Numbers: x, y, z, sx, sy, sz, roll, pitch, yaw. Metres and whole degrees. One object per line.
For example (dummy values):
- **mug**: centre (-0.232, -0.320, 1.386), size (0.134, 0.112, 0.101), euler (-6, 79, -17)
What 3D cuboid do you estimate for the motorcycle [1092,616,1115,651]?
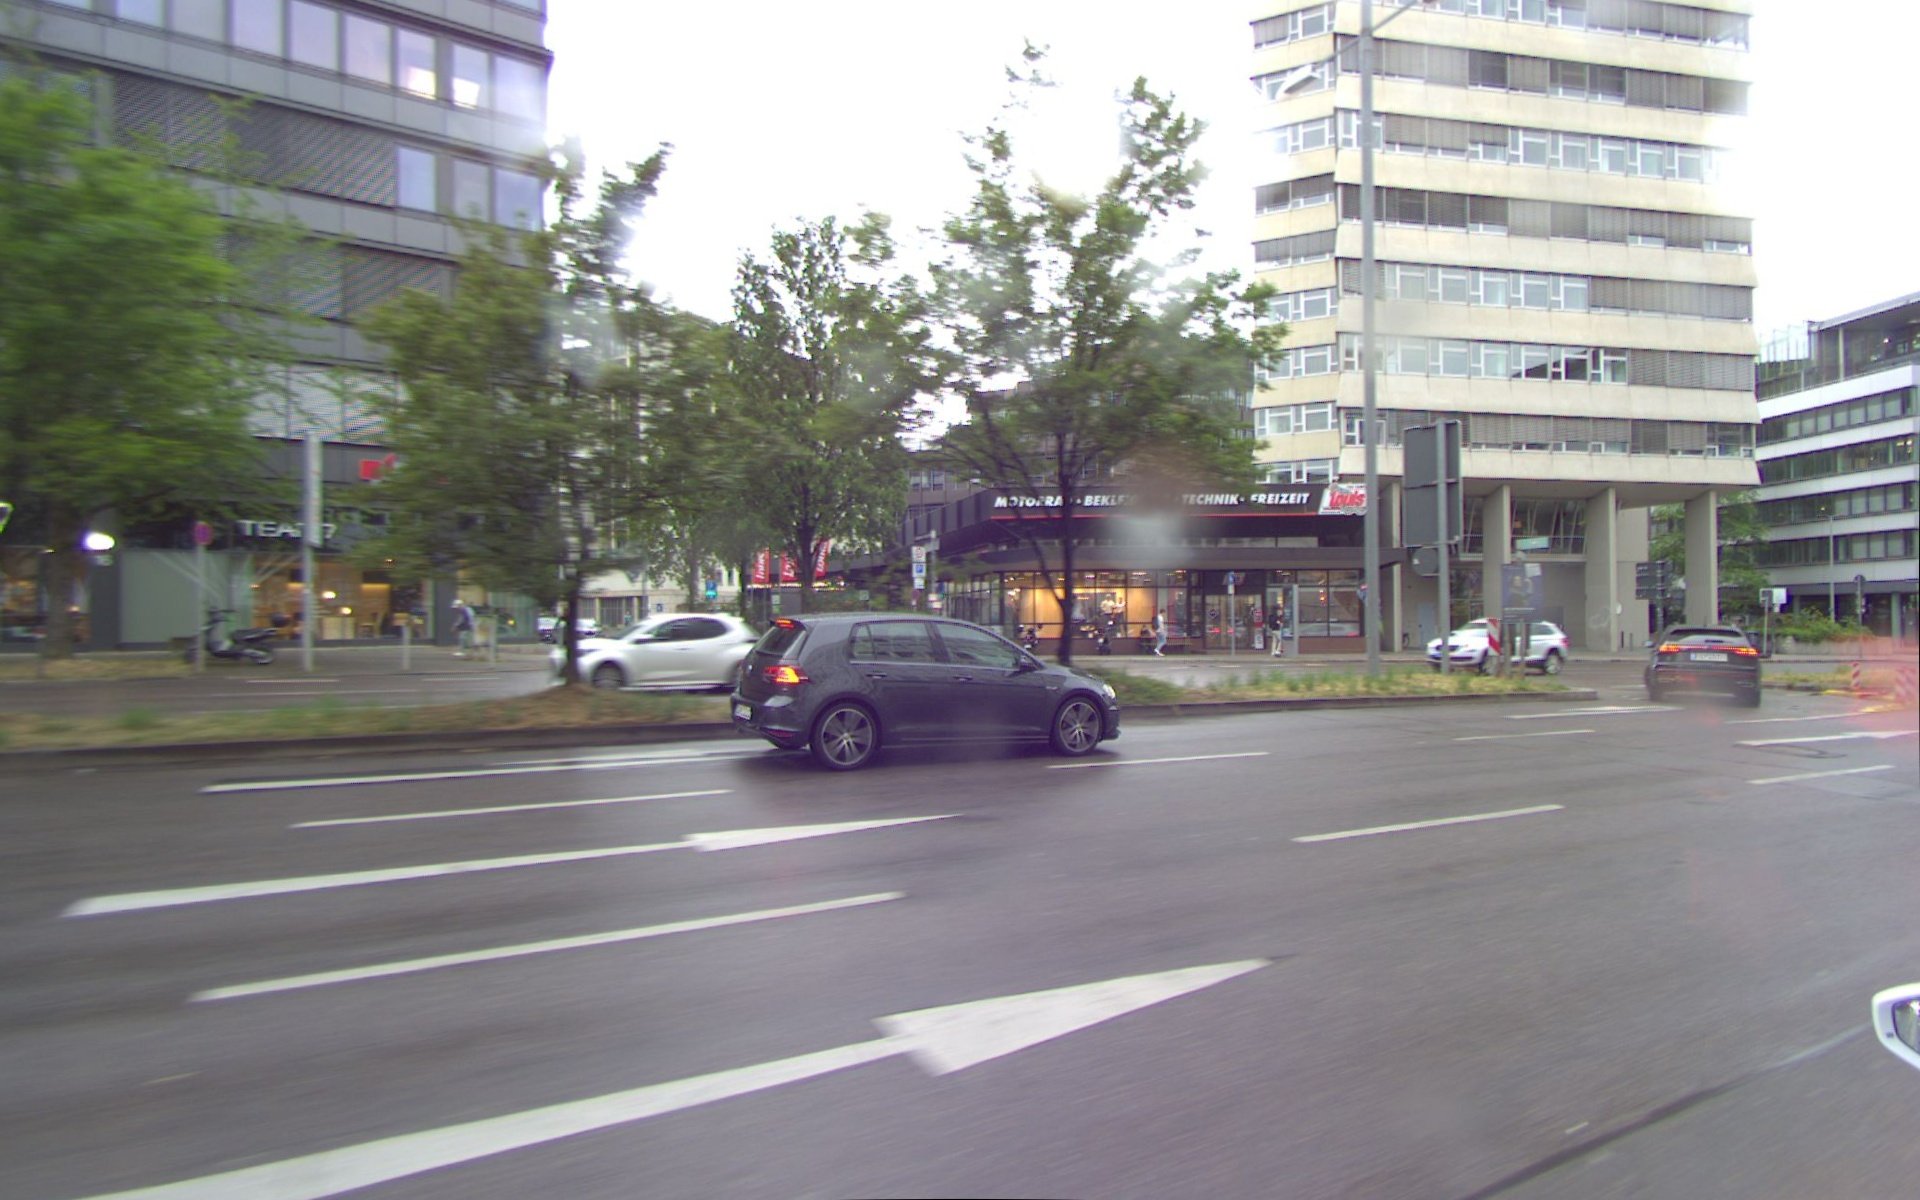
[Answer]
- **motorcycle**: centre (6.054, 1.406, 42.482), size (0.788, 1.392, 2.894), euler (2, 0, 5)

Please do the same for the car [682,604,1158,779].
- **car**: centre (-0.319, 0.843, 10.417), size (4.634, 1.470, 1.830), euler (2, -1, -31)

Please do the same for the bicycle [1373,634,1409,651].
- **bicycle**: centre (22.198, 2.198, 51.706), size (1.742, 0.823, 0.454), euler (2, 0, -10)

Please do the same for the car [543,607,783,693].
- **car**: centre (-5.561, 0.906, 18.996), size (4.041, 1.450, 1.672), euler (2, -1, -34)

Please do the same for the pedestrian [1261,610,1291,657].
- **pedestrian**: centre (12.778, 1.339, 40.644), size (0.908, 1.857, 0.728), euler (1, -1, -12)

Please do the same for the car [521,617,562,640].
- **car**: centre (-26.899, 1.833, 64.522), size (1.827, 1.305, 3.965), euler (2, 0, -32)

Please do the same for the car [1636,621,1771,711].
- **car**: centre (14.820, 1.230, 20.193), size (1.967, 1.564, 4.468), euler (0, -1, 35)

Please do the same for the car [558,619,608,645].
- **car**: centre (-20.725, 1.738, 55.169), size (1.827, 1.305, 3.965), euler (2, 0, -32)

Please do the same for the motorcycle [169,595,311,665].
- **motorcycle**: centre (-15.855, 0.642, 22.185), size (0.844, 1.412, 2.365), euler (4, 1, 31)

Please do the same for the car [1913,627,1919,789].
- **car**: centre (11.126, 1.048, 9.687), size (4.146, 1.505, 1.675), euler (1, -1, -29)

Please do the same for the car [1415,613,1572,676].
- **car**: centre (16.115, 1.342, 30.329), size (4.428, 1.751, 1.734), euler (2, 0, -22)

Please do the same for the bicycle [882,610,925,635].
- **bicycle**: centre (-3.151, 1.267, 55.871), size (2.182, 1.345, 0.913), euler (2, 0, -30)

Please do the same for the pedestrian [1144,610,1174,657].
- **pedestrian**: centre (7.963, 1.325, 40.149), size (0.908, 1.857, 0.818), euler (1, -1, -11)

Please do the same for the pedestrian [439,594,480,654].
- **pedestrian**: centre (-14.260, 0.677, 28.596), size (0.955, 1.659, 0.779), euler (1, -1, -32)

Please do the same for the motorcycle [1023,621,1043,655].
- **motorcycle**: centre (3.126, 1.588, 42.881), size (0.709, 1.351, 2.822), euler (2, 0, 6)

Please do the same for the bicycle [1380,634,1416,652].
- **bicycle**: centre (22.288, 2.195, 51.121), size (1.742, 0.823, 0.454), euler (2, 0, -10)
